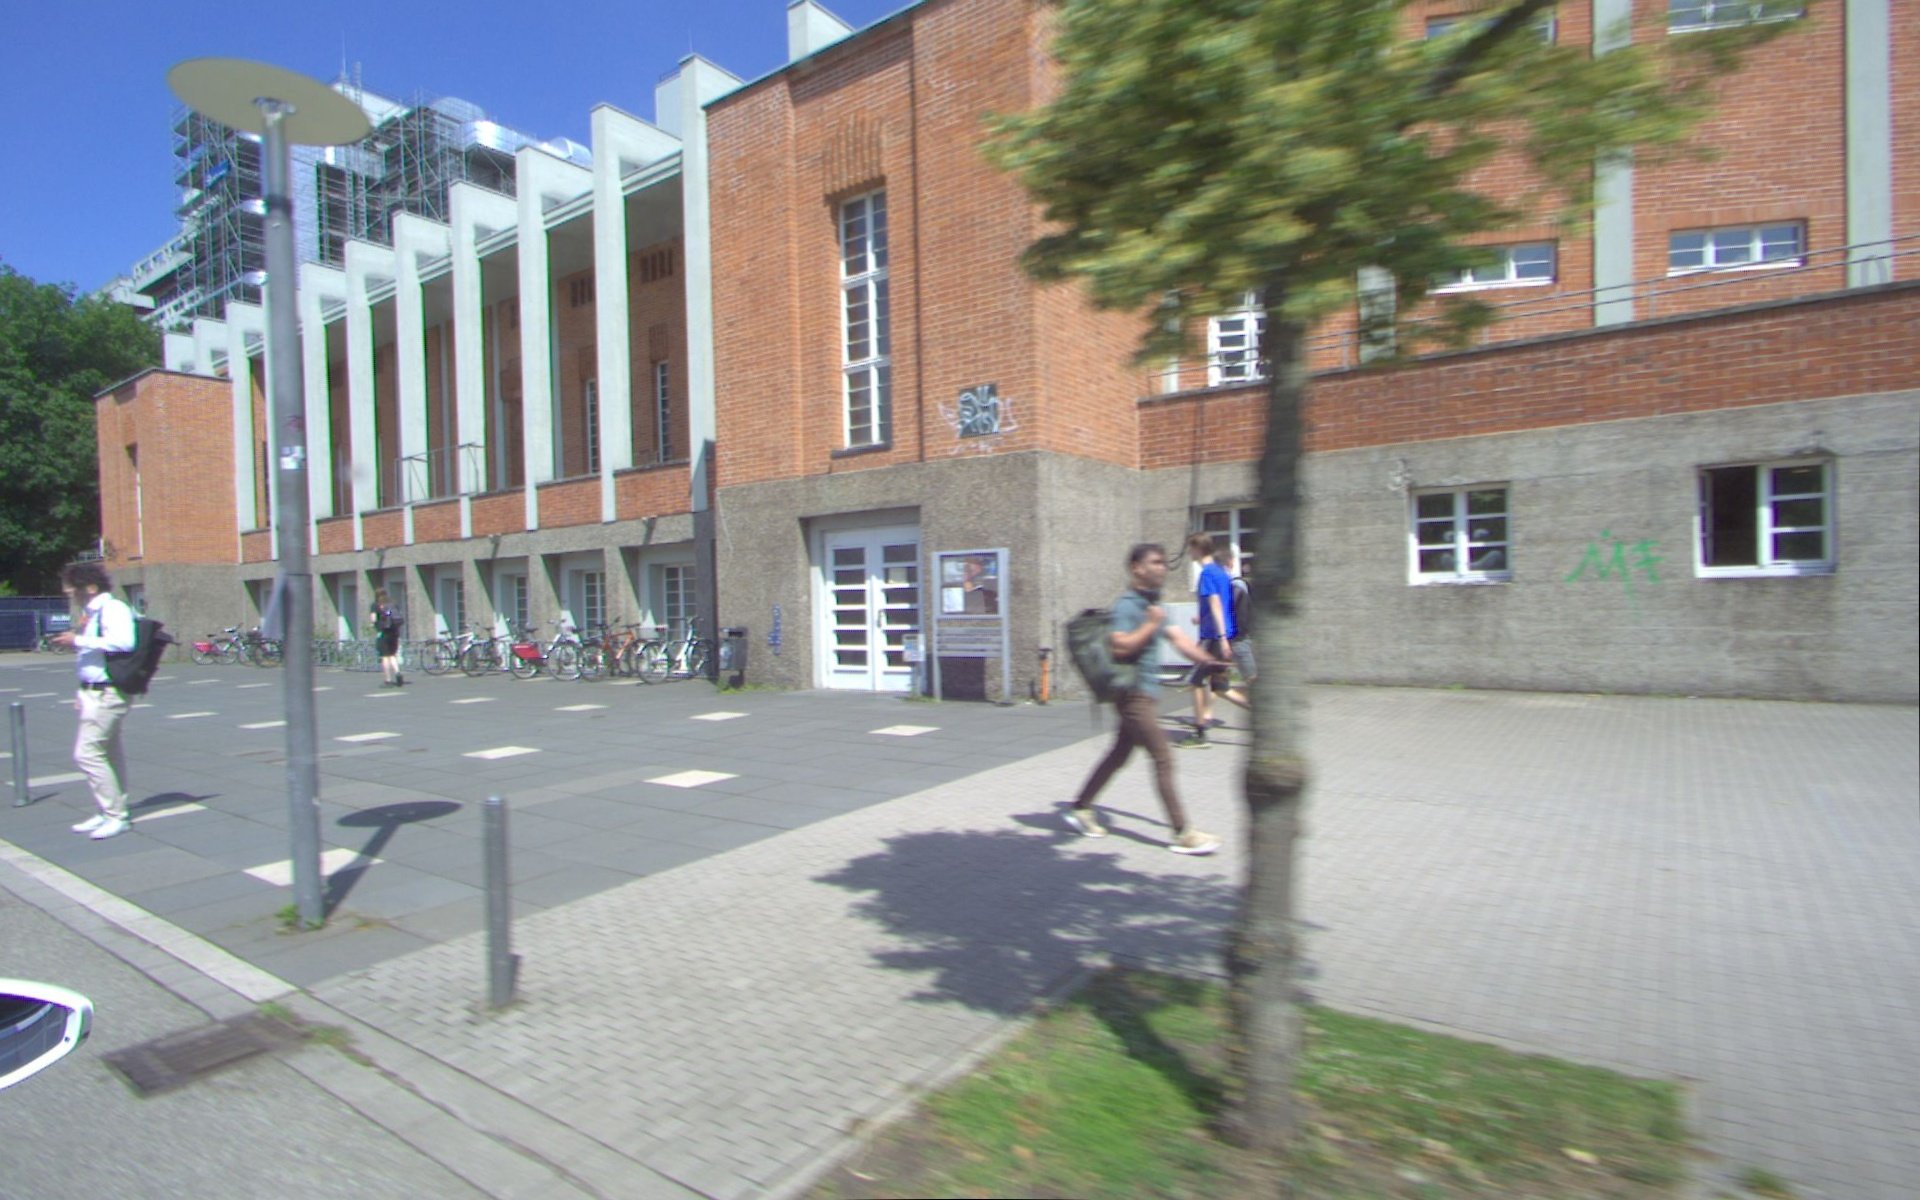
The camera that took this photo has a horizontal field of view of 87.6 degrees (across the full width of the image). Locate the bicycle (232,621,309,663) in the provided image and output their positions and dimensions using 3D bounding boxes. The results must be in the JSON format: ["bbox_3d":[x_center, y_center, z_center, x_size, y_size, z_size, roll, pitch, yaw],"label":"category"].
[{"bbox_3d":[-19.561,1.177,28.457,0.429,1.125,1.742,0,1,34],"label":"bicycle"}]

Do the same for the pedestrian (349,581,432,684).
[{"bbox_3d":[-10.669,0.598,18.765,1.180,1.858,0.842,-1,1,31],"label":"pedestrian"}]

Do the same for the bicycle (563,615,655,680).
[{"bbox_3d":[-6.520,0.864,18.669,0.429,1.125,1.689,0,1,34],"label":"bicycle"}]

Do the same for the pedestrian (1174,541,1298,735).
[{"bbox_3d":[2.593,0.352,9.409,0.986,1.729,0.584,-2,1,27],"label":"pedestrian"}]

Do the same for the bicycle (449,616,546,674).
[{"bbox_3d":[-9.748,0.925,21.173,0.429,1.125,1.906,0,1,34],"label":"bicycle"}]

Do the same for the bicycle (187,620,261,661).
[{"bbox_3d":[-22.294,1.219,30.347,0.429,1.165,1.748,0,1,34],"label":"bicycle"}]

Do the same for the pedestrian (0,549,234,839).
[{"bbox_3d":[-5.956,0.603,7.125,1.008,1.873,0.913,-3,2,-24],"label":"pedestrian"}]

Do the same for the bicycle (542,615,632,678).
[{"bbox_3d":[-7.081,0.862,19.066,0.429,1.125,1.646,0,1,34],"label":"bicycle"}]

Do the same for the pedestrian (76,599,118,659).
[{"bbox_3d":[-27.073,0.899,31.421,0.892,1.858,0.662,-1,1,26],"label":"pedestrian"}]

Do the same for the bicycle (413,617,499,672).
[{"bbox_3d":[-11.111,0.963,22.108,0.429,1.125,1.678,0,1,34],"label":"bicycle"}]

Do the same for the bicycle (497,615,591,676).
[{"bbox_3d":[-8.321,0.883,20.092,0.429,1.125,1.792,0,1,34],"label":"bicycle"}]

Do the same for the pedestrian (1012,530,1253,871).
[{"bbox_3d":[0.972,0.511,5.594,1.064,1.698,0.780,-2,1,33],"label":"pedestrian"}]

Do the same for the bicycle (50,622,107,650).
[{"bbox_3d":[-38.371,1.551,43.607,0.442,1.124,1.799,-1,1,36],"label":"bicycle"}]

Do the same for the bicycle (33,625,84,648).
[{"bbox_3d":[-41.746,1.677,46.372,0.442,1.016,1.665,-1,0,36],"label":"bicycle"}]

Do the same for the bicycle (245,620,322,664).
[{"bbox_3d":[-18.489,1.137,27.409,0.429,1.125,1.678,0,1,34],"label":"bicycle"}]

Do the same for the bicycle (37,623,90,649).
[{"bbox_3d":[-40.050,1.594,44.752,0.442,1.124,1.695,-1,1,36],"label":"bicycle"}]

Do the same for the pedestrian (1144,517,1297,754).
[{"bbox_3d":[2.249,0.299,8.630,1.094,1.915,0.663,-2,1,31],"label":"pedestrian"}]

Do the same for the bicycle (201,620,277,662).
[{"bbox_3d":[-21.498,1.218,29.889,0.511,1.165,1.748,0,1,34],"label":"bicycle"}]

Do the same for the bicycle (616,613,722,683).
[{"bbox_3d":[-5.080,0.808,17.618,0.450,1.125,1.924,0,1,34],"label":"bicycle"}]
